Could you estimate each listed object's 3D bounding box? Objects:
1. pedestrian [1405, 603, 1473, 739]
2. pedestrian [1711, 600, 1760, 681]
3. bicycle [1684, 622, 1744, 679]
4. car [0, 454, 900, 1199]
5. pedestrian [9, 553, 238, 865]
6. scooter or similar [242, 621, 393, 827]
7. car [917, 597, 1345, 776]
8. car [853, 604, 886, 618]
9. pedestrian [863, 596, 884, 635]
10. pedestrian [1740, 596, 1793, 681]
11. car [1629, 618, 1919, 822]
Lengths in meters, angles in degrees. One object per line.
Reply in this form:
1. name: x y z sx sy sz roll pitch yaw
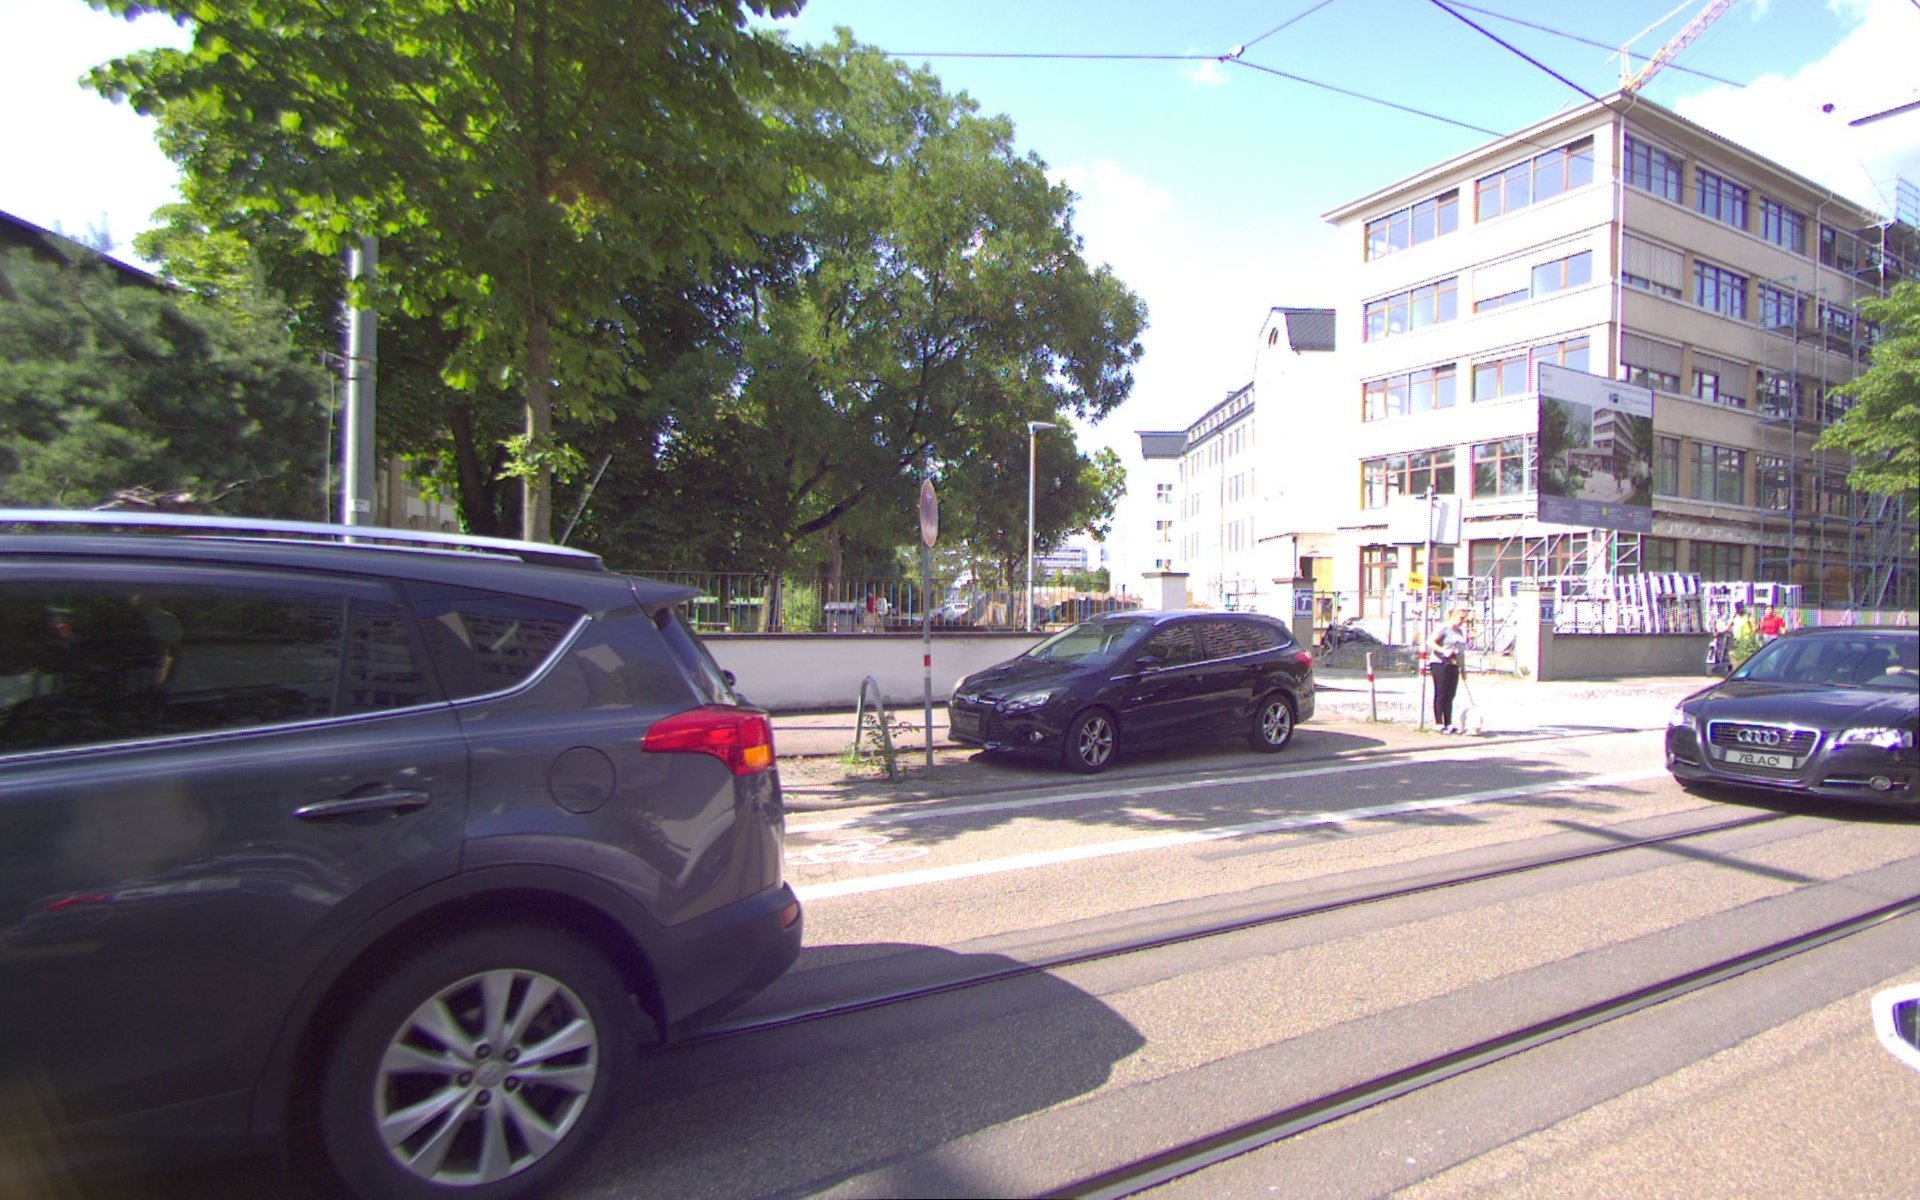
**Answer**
1. pedestrian: 6.135 0.875 12.861 0.714 1.659 0.691 2 1 27
2. pedestrian: 17.970 0.921 23.281 0.655 1.817 0.702 1 1 -35
3. bicycle: 17.766 1.170 23.668 1.716 1.303 0.444 1 0 -28
4. car: -2.503 0.578 2.559 4.339 1.750 1.817 1 1 -30
5. pedestrian: -5.093 0.633 6.170 0.776 1.790 0.752 1 1 -7
6. scooter or similar: -4.665 0.831 7.366 0.845 1.297 1.331 1 1 -31
7. car: 1.940 0.796 10.783 4.543 1.536 1.739 1 1 -33
8. car: -10.197 1.228 113.152 3.594 1.509 1.786 1 0 0
9. pedestrian: -3.686 0.665 42.672 0.751 1.642 0.594 1 0 9
10. pedestrian: 18.310 0.853 22.804 0.655 1.857 0.702 -1 4 -35
11. car: 7.693 0.877 8.645 3.954 1.394 1.714 1 -2 -31
